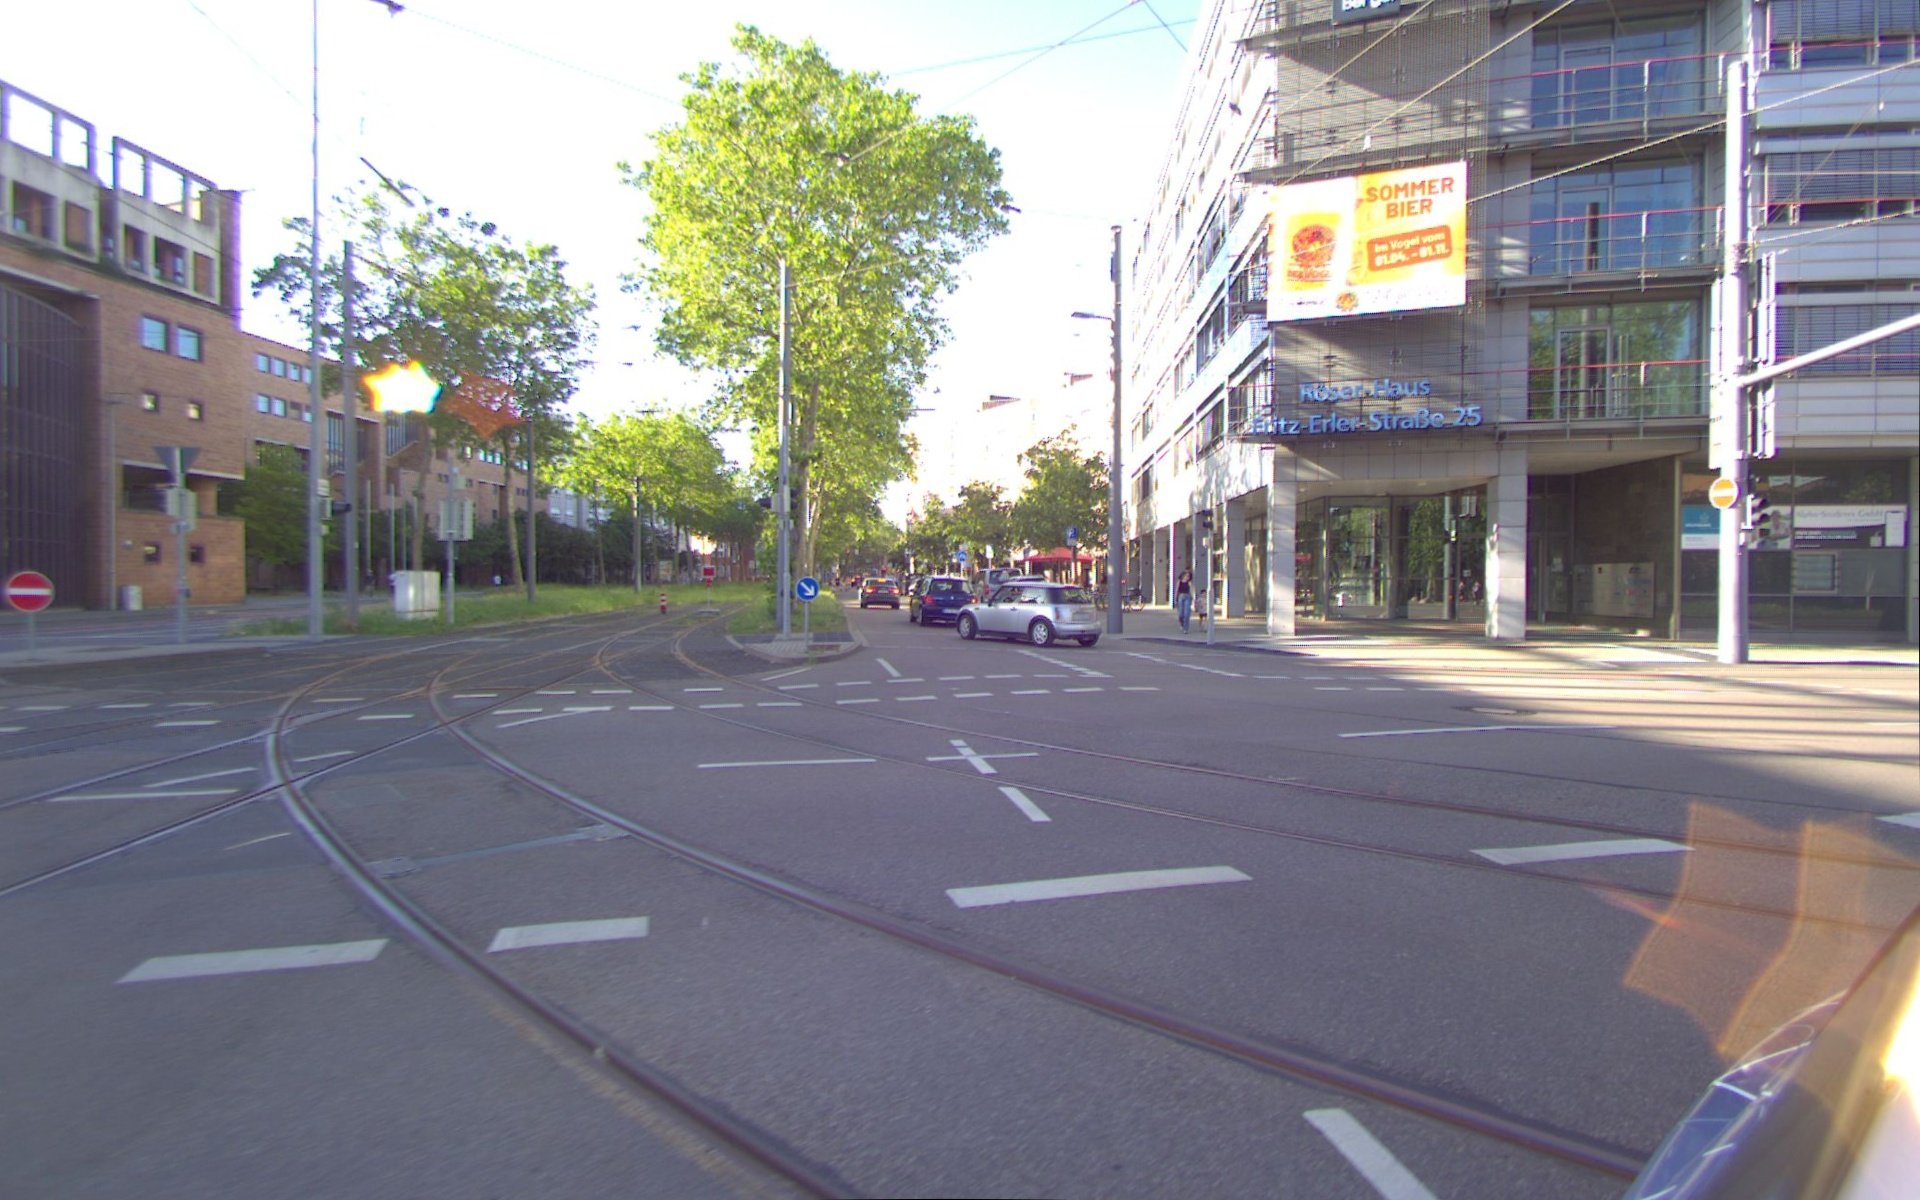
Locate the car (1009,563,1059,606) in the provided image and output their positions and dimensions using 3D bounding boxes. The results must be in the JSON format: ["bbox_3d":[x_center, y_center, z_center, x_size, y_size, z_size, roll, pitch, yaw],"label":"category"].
[{"bbox_3d":[2.834,-0.634,39.301,1.833,1.492,3.976,-1,3,3],"label":"car"}]

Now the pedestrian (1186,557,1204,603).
[{"bbox_3d":[8.973,-0.766,38.692,0.577,1.756,0.791,-1,0,10],"label":"pedestrian"}]

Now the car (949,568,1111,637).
[{"bbox_3d":[1.531,-0.004,22.985,1.638,1.405,3.531,-1,3,-42],"label":"car"}]

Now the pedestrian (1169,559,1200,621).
[{"bbox_3d":[6.070,-0.275,27.355,0.648,1.660,0.794,0,1,-1],"label":"pedestrian"}]

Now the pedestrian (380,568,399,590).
[{"bbox_3d":[-36.846,-1.346,65.354,0.796,1.401,0.688,-1,2,-6],"label":"pedestrian"}]

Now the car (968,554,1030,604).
[{"bbox_3d":[1.651,-0.982,44.509,1.829,2.040,4.466,-1,3,-9],"label":"car"}]

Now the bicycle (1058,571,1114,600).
[{"bbox_3d":[5.628,-0.654,45.084,2.344,1.229,0.777,-1,1,-15],"label":"bicycle"}]

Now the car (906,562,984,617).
[{"bbox_3d":[-0.516,-0.386,30.571,1.829,1.492,3.985,-1,3,-8],"label":"car"}]

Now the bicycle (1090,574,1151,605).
[{"bbox_3d":[6.407,-0.438,40.584,2.352,1.229,0.774,0,1,5],"label":"bicycle"}]

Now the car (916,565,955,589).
[{"bbox_3d":[-1.698,-1.602,68.474,1.828,1.492,3.987,-2,3,-14],"label":"car"}]

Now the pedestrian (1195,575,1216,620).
[{"bbox_3d":[6.661,-0.075,27.479,0.434,1.225,0.462,0,1,-1],"label":"pedestrian"}]

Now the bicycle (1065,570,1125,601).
[{"bbox_3d":[5.591,-0.609,42.009,2.344,1.229,0.777,-1,1,-15],"label":"bicycle"}]

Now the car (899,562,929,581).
[{"bbox_3d":[-3.898,-2.415,85.415,1.828,1.492,3.987,-2,3,-14],"label":"car"}]

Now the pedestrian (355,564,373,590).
[{"bbox_3d":[-37.811,-1.490,64.191,0.795,1.625,0.689,-2,2,-21],"label":"pedestrian"}]

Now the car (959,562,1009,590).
[{"bbox_3d":[1.340,-1.407,58.198,1.828,1.492,3.987,-2,3,-14],"label":"car"}]

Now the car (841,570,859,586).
[{"bbox_3d":[-13.106,-2.593,120.384,1.786,1.791,4.324,-1,1,-11],"label":"car"}]

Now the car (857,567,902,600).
[{"bbox_3d":[-3.839,-0.799,47.610,1.665,1.458,4.027,-2,2,-10],"label":"car"}]

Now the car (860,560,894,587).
[{"bbox_3d":[-4.895,-1.562,59.154,1.665,1.492,3.990,-1,3,-9],"label":"car"}]

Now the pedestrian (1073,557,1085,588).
[{"bbox_3d":[7.009,-1.611,59.651,0.625,1.756,0.792,-1,0,4],"label":"pedestrian"}]

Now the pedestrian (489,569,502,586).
[{"bbox_3d":[-38.925,-1.924,84.774,0.796,1.401,0.688,-1,2,-6],"label":"pedestrian"}]
